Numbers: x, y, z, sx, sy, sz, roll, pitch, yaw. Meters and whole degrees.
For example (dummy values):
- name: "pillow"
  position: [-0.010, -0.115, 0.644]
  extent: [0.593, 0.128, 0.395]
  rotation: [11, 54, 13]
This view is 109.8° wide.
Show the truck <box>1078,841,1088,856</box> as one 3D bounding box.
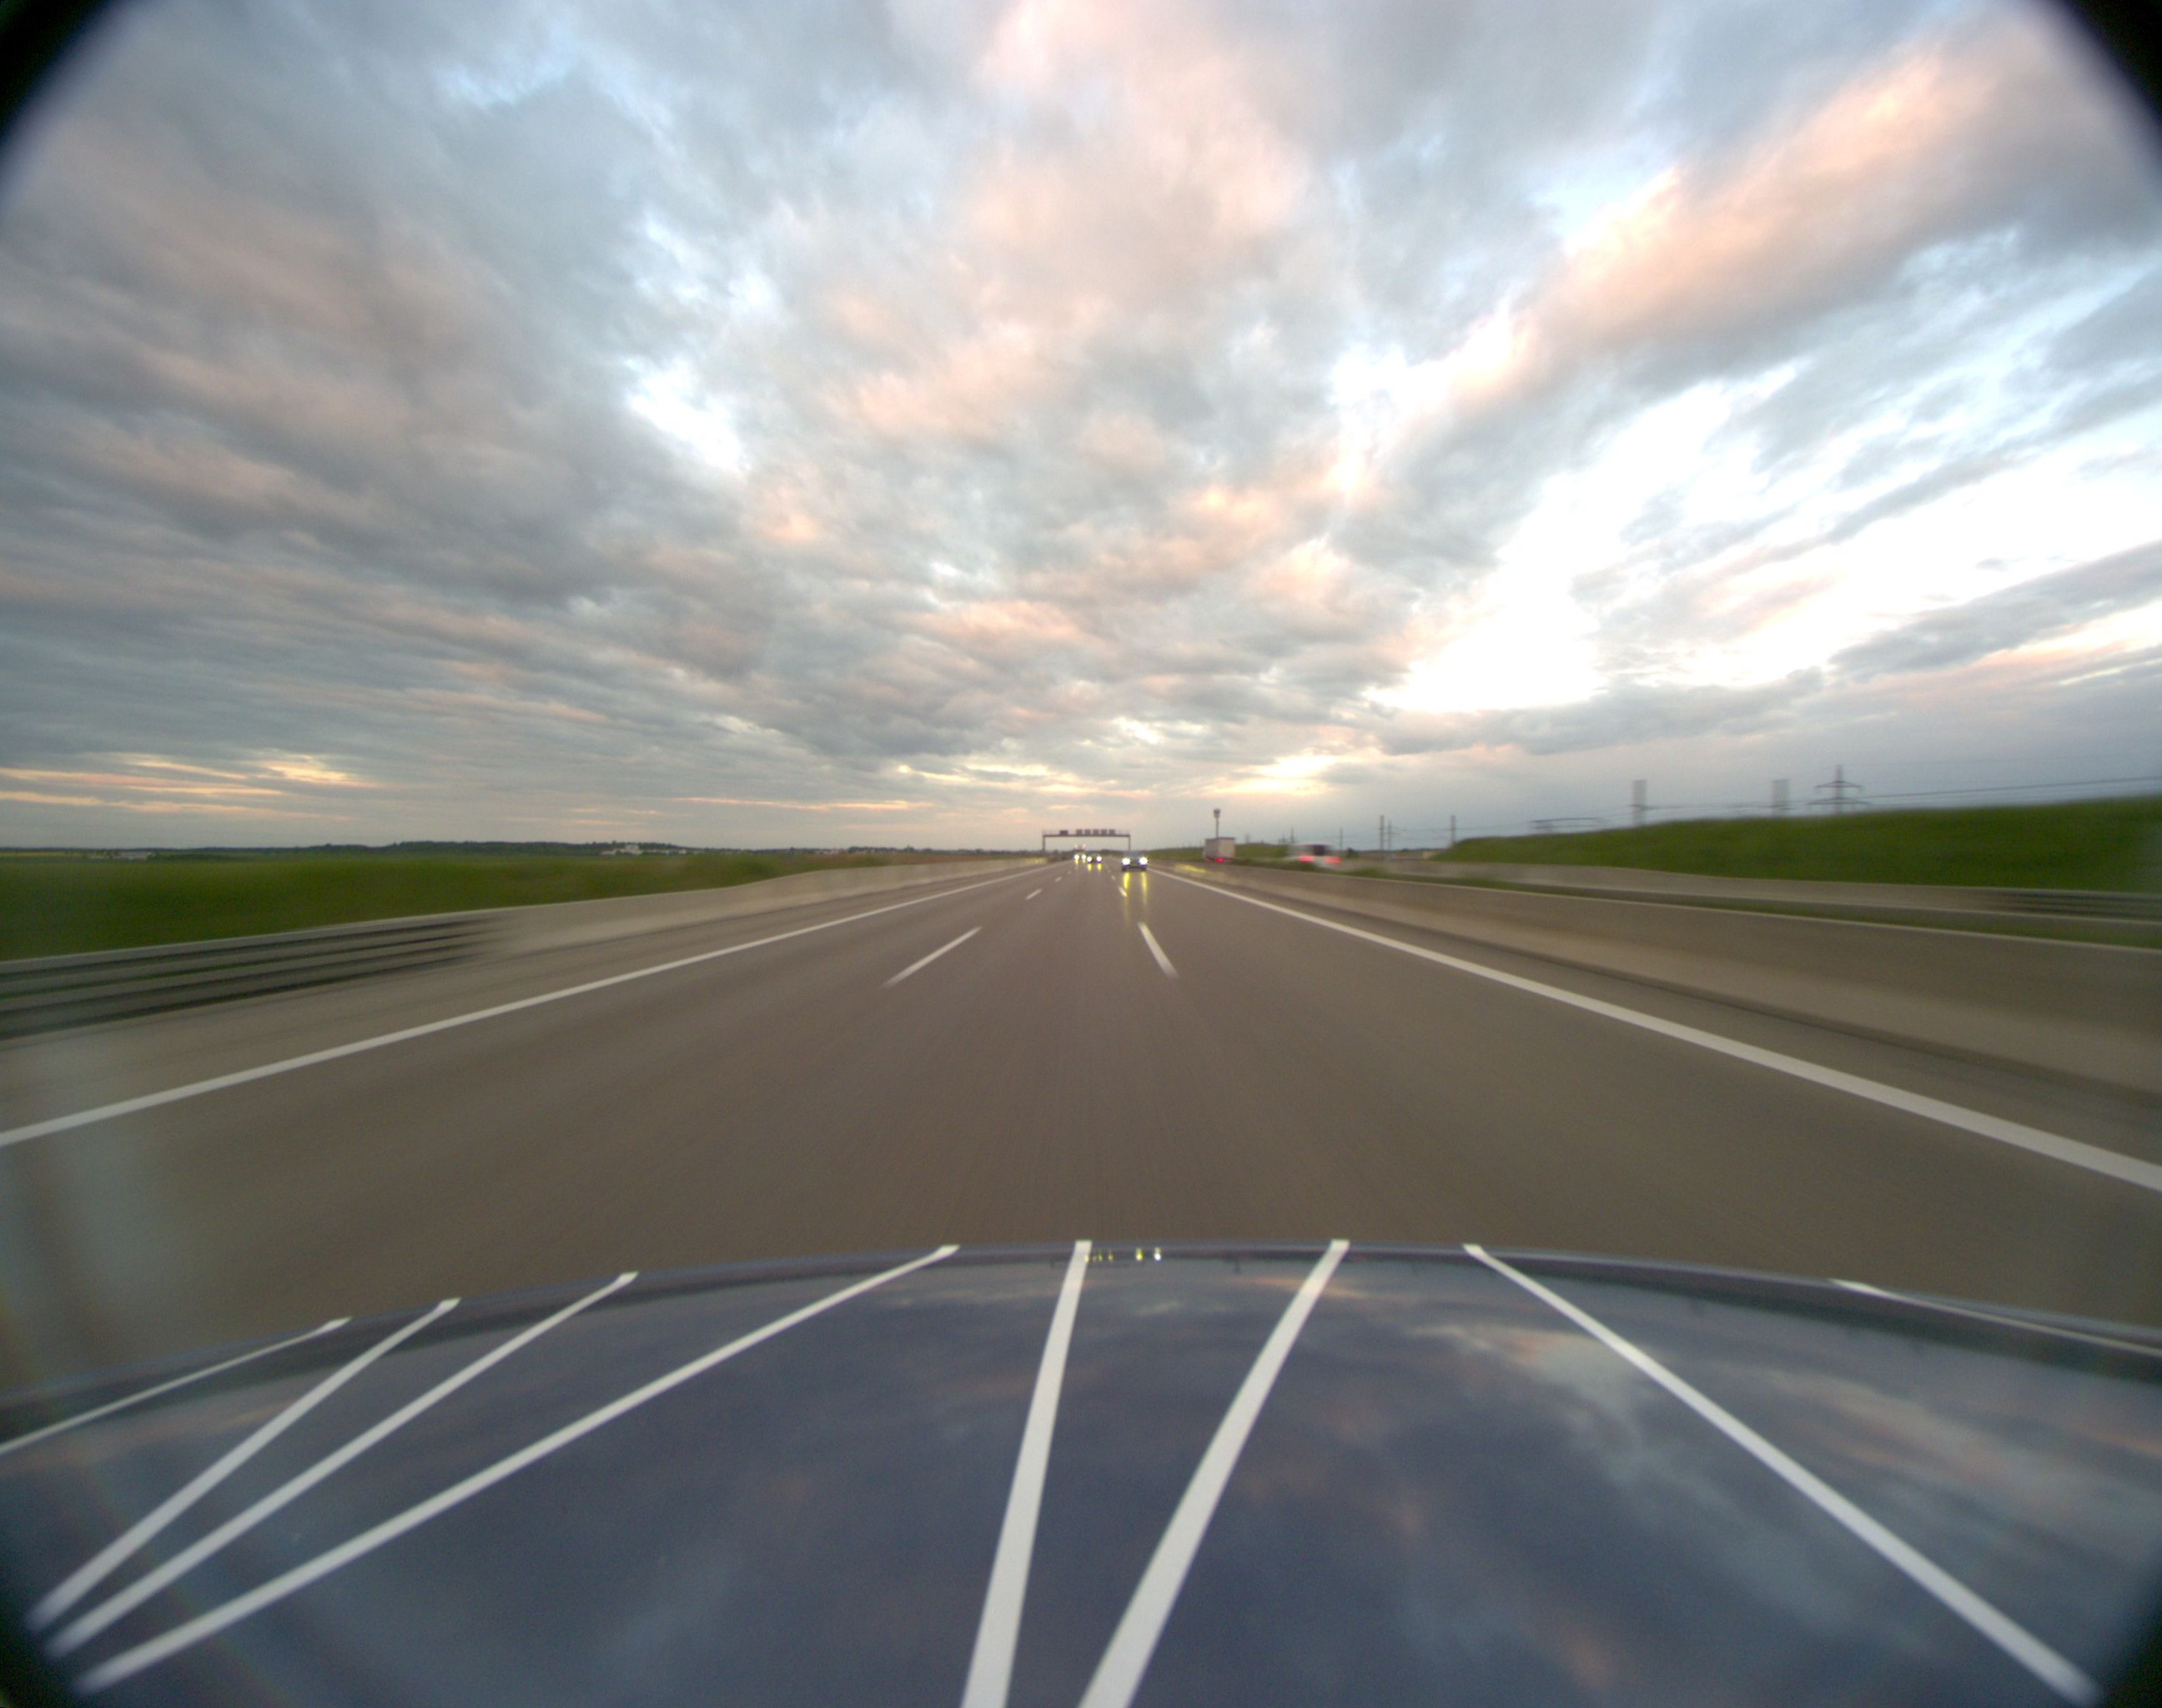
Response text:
- name: "truck"
  position: [0.564, -1.543, 212.057]
  extent: [2.596, 3.999, 5.859]
  rotation: [-1, 0, 1]

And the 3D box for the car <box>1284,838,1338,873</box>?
- name: "car"
  position: [16.585, 0.098, 55.232]
  extent: [2.133, 2.331, 6.492]
  rotation: [1, 0, 2]

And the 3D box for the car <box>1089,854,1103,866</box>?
- name: "car"
  position: [2.383, 0.925, 116.341]
  extent: [1.998, 1.652, 4.851]
  rotation: [-2, 0, 2]

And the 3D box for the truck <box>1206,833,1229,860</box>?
- name: "truck"
  position: [22.593, -1.161, 126.387]
  extent: [2.824, 4.327, 6.740]
  rotation: [-2, 0, 3]

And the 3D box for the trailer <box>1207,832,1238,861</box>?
- name: "trailer"
  position: [22.241, -1.130, 120.027]
  extent: [2.824, 4.327, 12.840]
  rotation: [-2, 0, 3]

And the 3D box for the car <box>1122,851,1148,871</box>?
- name: "car"
  position: [4.596, 0.581, 65.156]
  extent: [1.998, 1.652, 4.000]
  rotation: [-2, 0, 2]
